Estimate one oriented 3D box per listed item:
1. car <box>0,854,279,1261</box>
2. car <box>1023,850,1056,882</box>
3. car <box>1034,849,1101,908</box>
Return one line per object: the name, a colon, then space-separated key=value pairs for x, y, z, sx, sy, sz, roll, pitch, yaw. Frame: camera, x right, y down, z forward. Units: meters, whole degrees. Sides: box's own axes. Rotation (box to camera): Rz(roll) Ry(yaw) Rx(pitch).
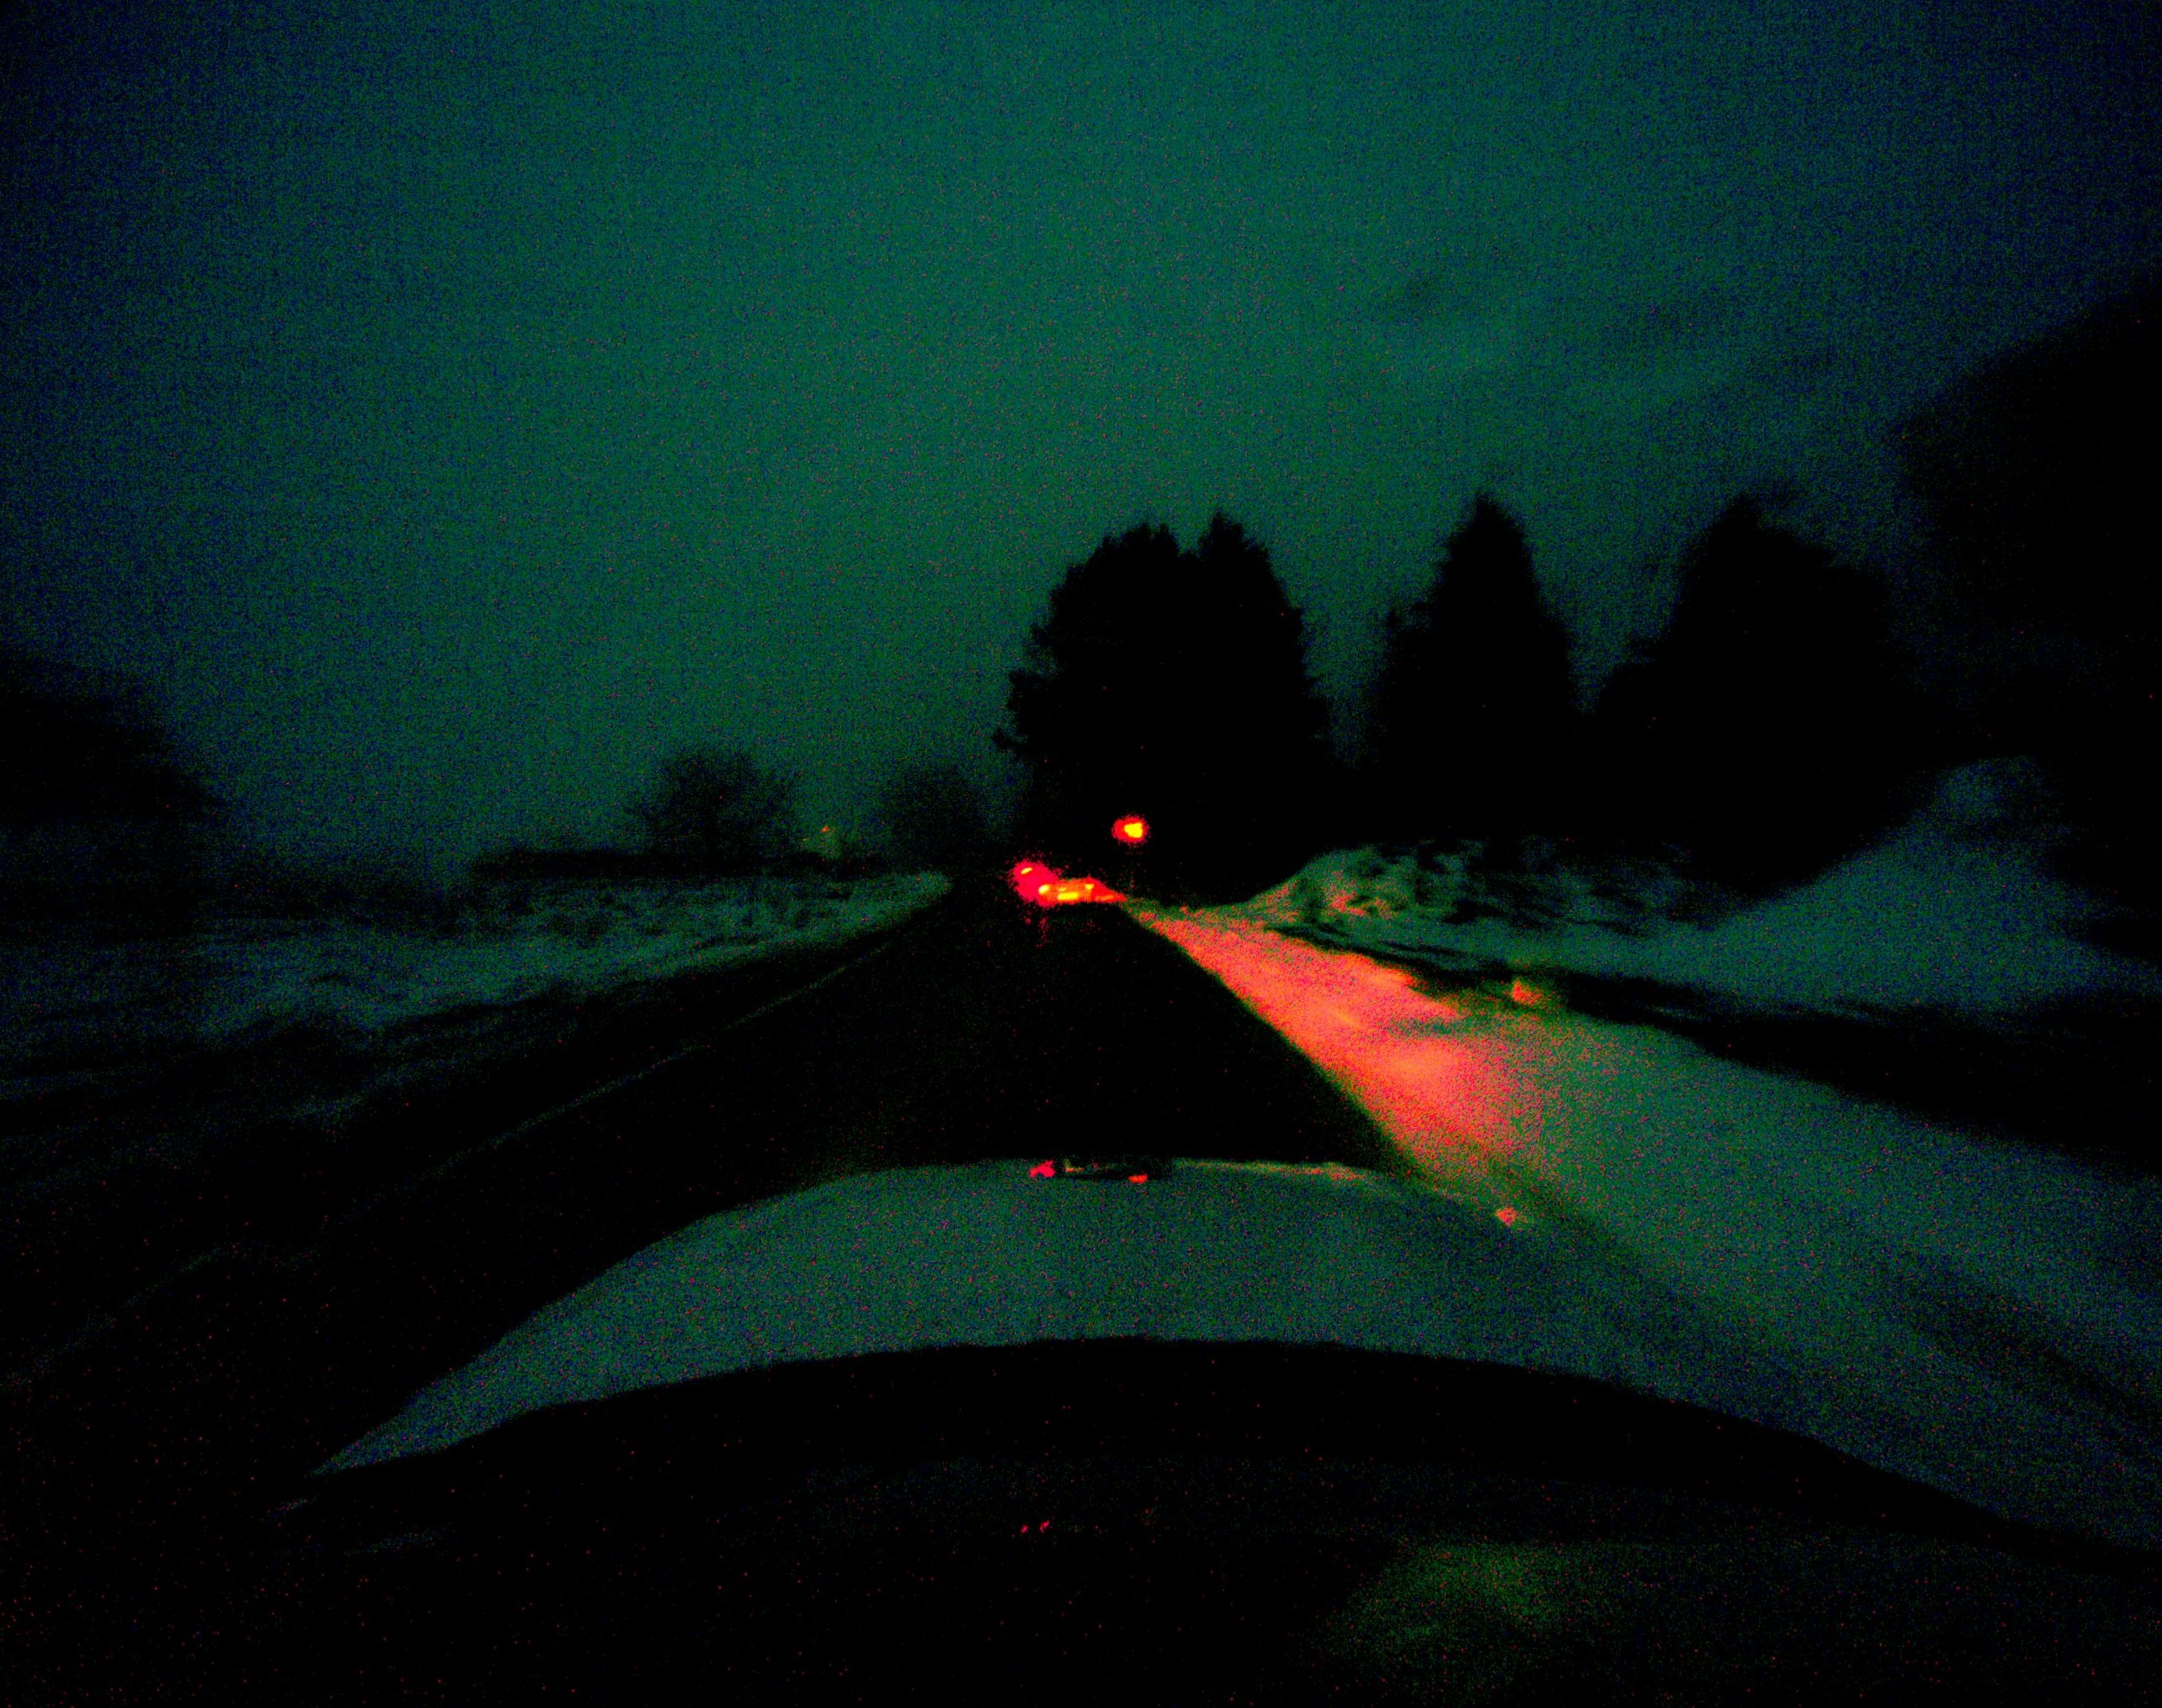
car: x=-4.836 y=0.759 z=2.518 sx=1.515 sy=1.508 sz=3.058 roll=-1 pitch=-1 yaw=6
car: x=-2.017 y=0.575 z=39.727 sx=1.474 sy=1.508 sz=3.051 roll=-1 pitch=-1 yaw=-1
car: x=-0.412 y=0.739 z=23.930 sx=1.702 sy=1.463 sz=3.997 roll=5 pitch=-2 yaw=-1
